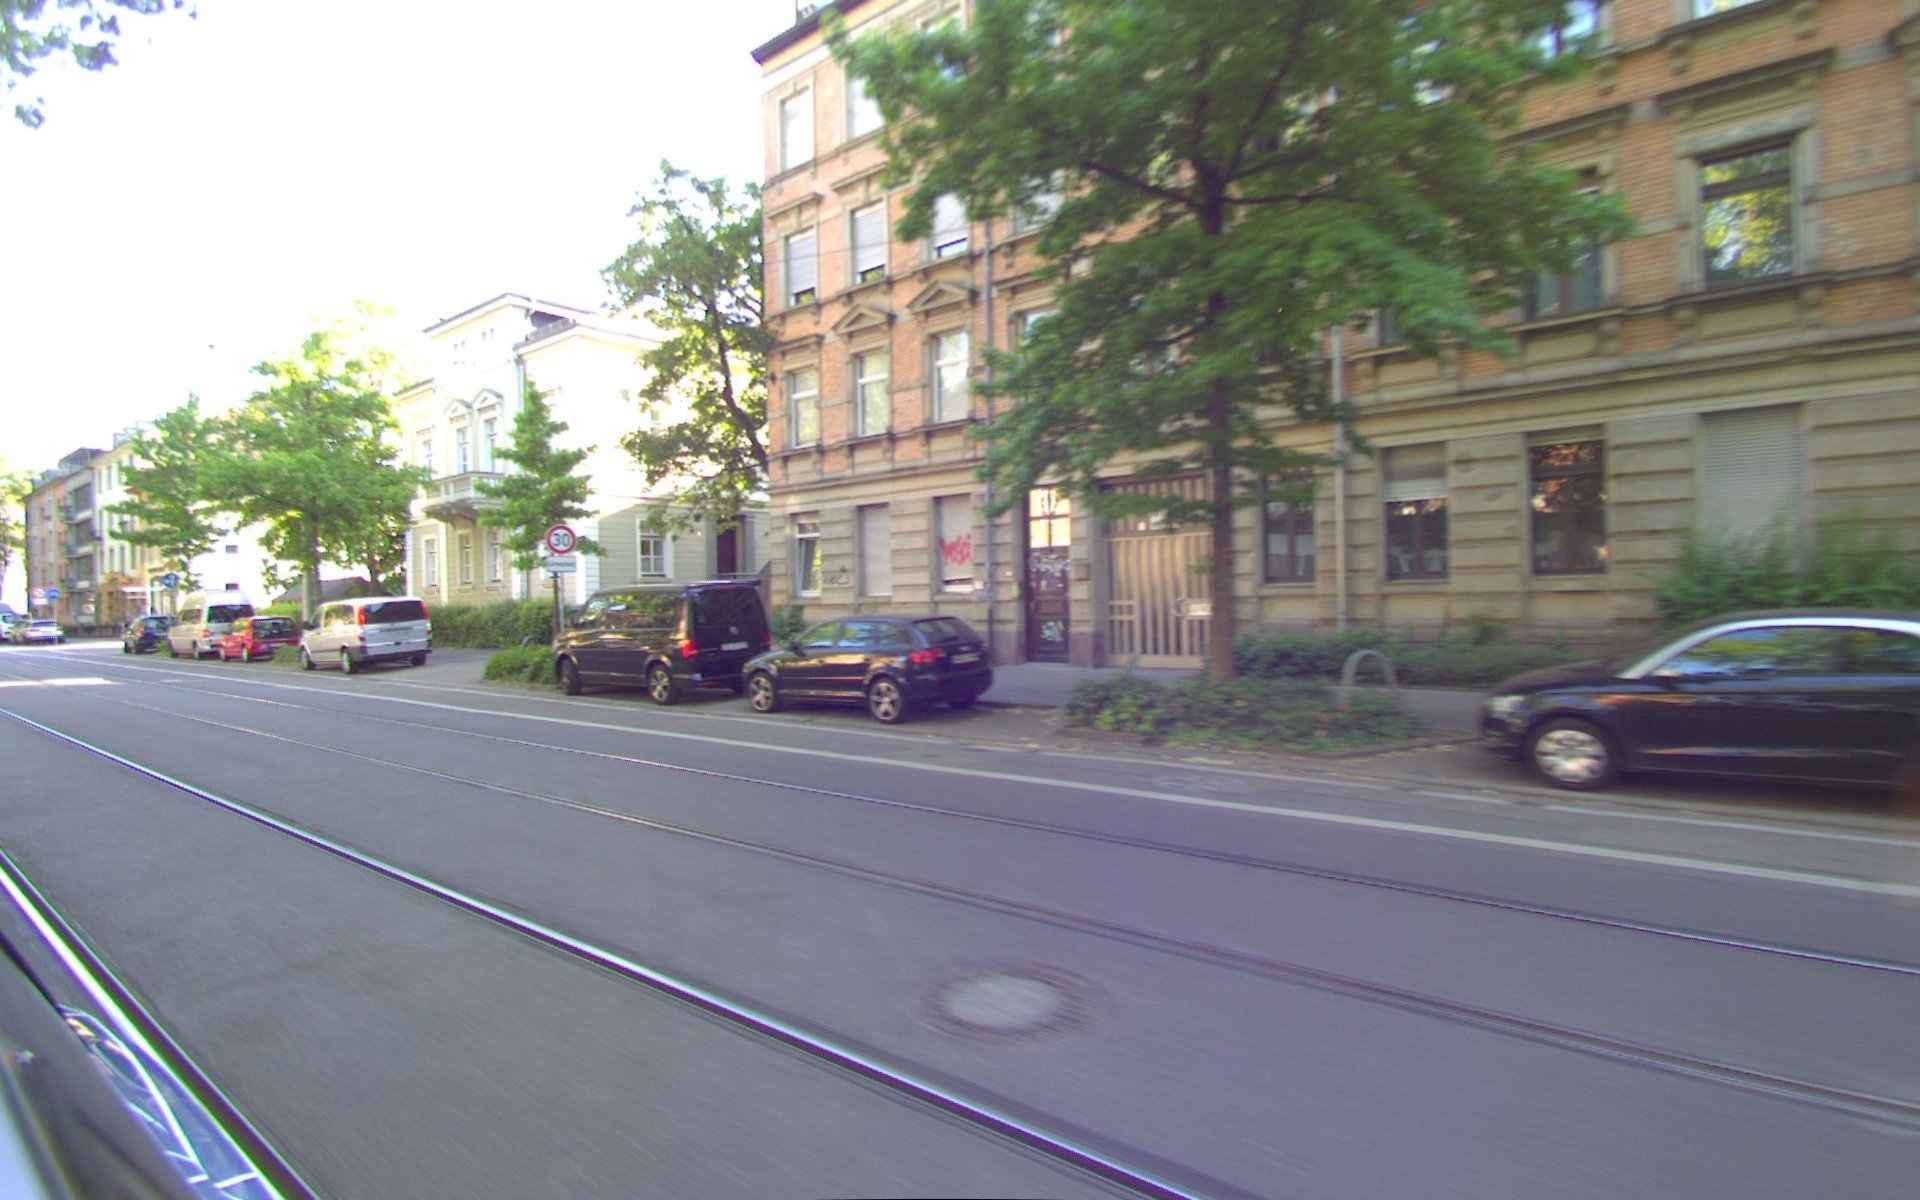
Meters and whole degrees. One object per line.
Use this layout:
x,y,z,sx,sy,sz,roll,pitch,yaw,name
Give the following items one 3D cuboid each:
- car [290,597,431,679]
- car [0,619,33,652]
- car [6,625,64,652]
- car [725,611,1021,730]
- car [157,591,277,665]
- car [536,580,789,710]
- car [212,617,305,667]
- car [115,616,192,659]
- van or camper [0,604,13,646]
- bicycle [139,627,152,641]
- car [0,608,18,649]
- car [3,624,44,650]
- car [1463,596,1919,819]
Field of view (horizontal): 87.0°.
-16.221,0.996,27.280,4.986,2.004,1.824,-2,-1,42,car
-63.508,2.338,67.413,4.936,2.061,1.904,-2,0,40,car
-55.444,2.299,60.642,4.934,1.503,1.754,-2,0,38,car
-1.370,0.937,14.820,4.266,1.469,1.834,-2,-1,39,car
-27.485,1.012,37.384,5.337,2.527,2.281,-2,-1,39,car
-5.444,0.748,18.188,4.830,2.029,1.974,-2,-1,40,car
-23.573,1.386,33.973,3.704,1.551,1.668,-2,-1,40,car
-34.468,1.581,43.240,4.261,1.703,1.971,-2,-1,43,car
-73.142,1.974,75.862,5.988,2.999,2.393,-2,3,42,van or camper
-53.547,2.221,66.539,1.646,0.935,0.358,-2,-1,41,bicycle
-68.126,2.085,71.338,4.544,2.766,1.904,-2,3,41,car
-59.018,2.313,63.769,2.881,1.503,1.555,-2,0,41,car
6.307,0.736,7.927,3.946,1.456,1.641,-2,0,40,car
